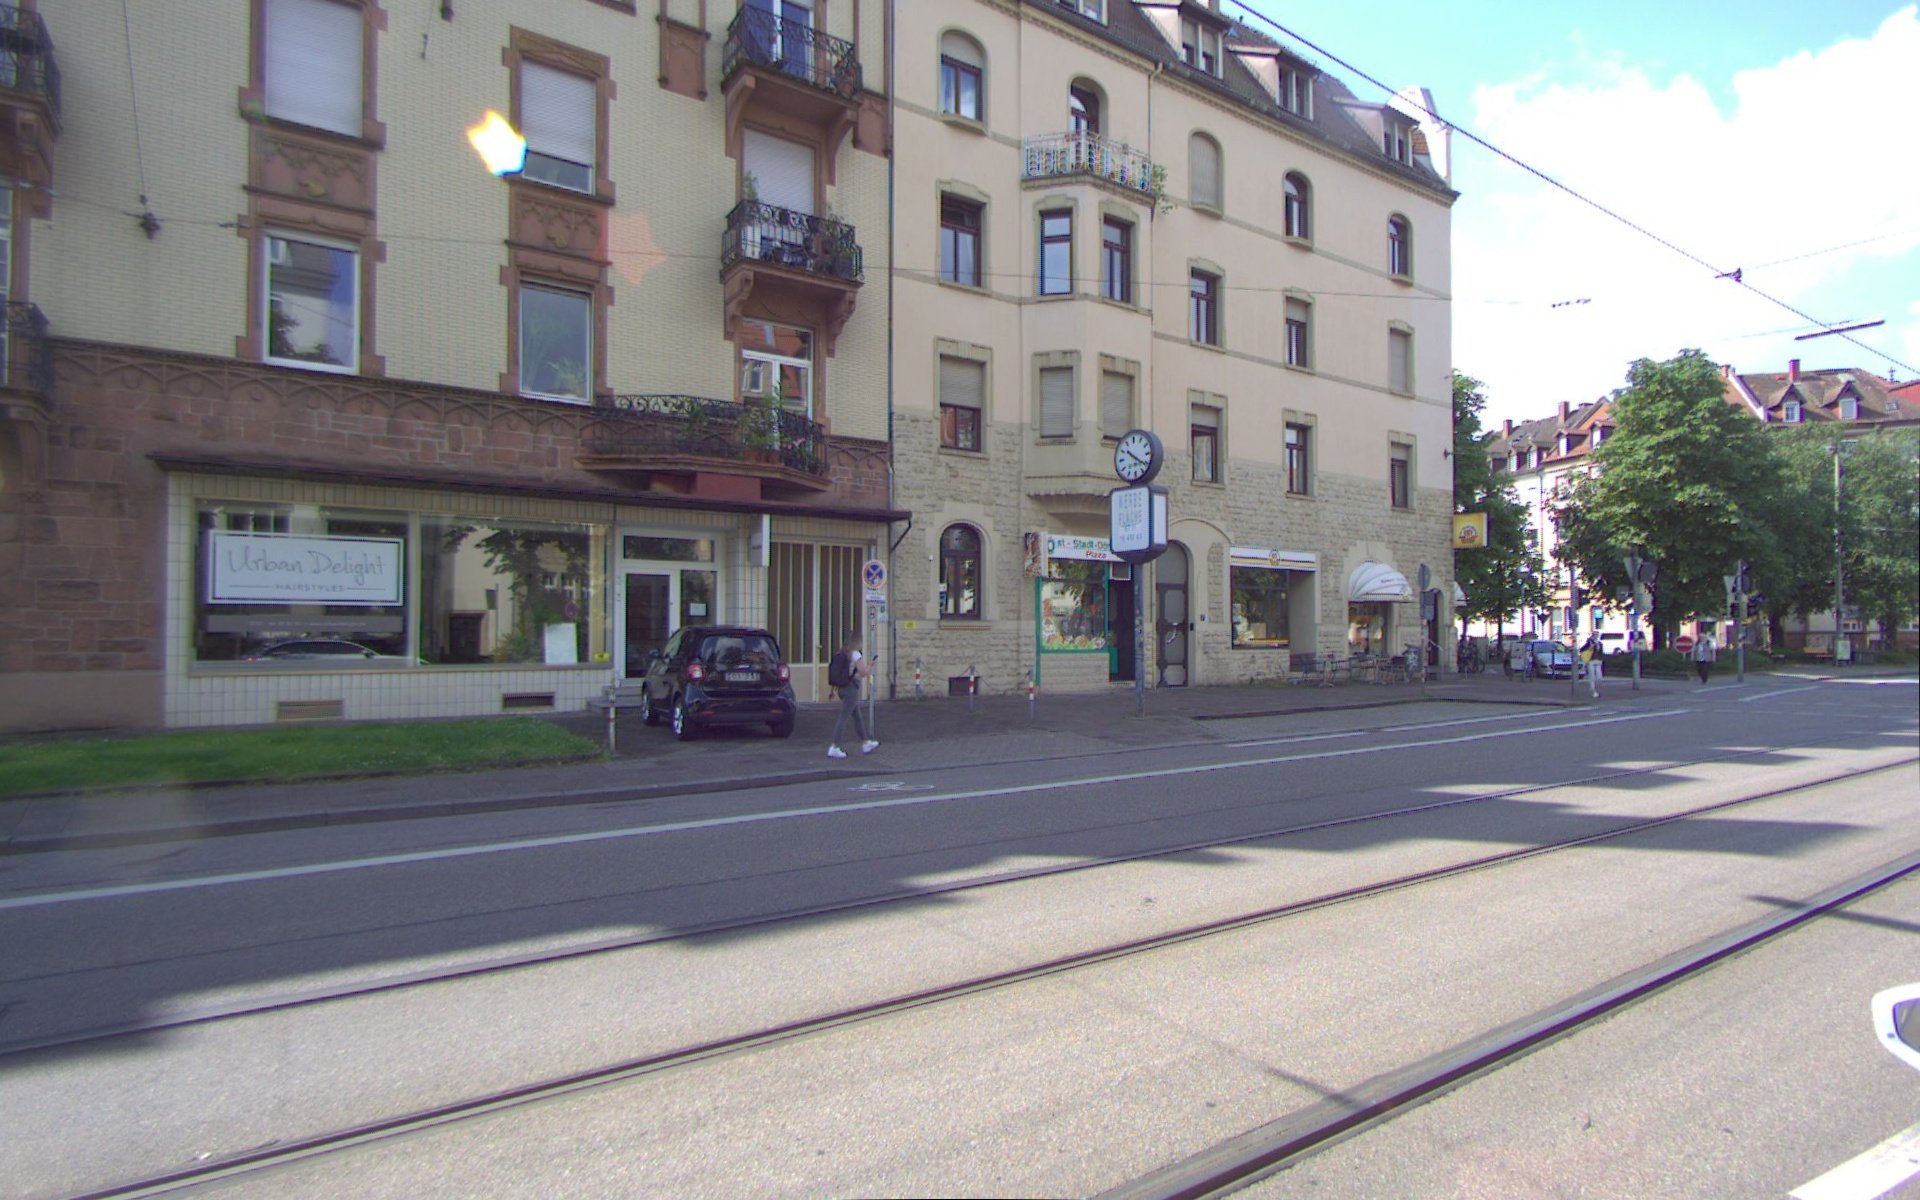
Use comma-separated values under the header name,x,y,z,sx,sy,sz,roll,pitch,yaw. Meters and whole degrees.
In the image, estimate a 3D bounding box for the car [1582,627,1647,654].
name,x,y,z,sx,sy,sz,roll,pitch,yaw
car,48.372,3.006,74.325,1.962,1.929,3.997,0,-2,-6

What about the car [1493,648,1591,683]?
name,x,y,z,sx,sy,sz,roll,pitch,yaw
car,22.330,2.477,38.681,1.645,1.198,4.002,0,-2,4

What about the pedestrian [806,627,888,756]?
name,x,y,z,sx,sy,sz,roll,pitch,yaw
pedestrian,-1.457,1.149,12.941,0.757,1.562,0.752,1,2,-33

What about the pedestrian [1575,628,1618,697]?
name,x,y,z,sx,sy,sz,roll,pitch,yaw
pedestrian,16.767,1.626,26.479,0.785,1.777,0.685,0,-2,17

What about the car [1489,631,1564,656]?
name,x,y,z,sx,sy,sz,roll,pitch,yaw
car,38.077,2.932,67.616,1.976,1.617,3.969,1,-2,-29

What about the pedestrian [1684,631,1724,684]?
name,x,y,z,sx,sy,sz,roll,pitch,yaw
pedestrian,24.769,1.894,33.463,0.709,1.728,0.819,1,-2,-25

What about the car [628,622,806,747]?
name,x,y,z,sx,sy,sz,roll,pitch,yaw
car,-3.692,1.147,14.906,1.716,1.505,3.162,1,1,-30
